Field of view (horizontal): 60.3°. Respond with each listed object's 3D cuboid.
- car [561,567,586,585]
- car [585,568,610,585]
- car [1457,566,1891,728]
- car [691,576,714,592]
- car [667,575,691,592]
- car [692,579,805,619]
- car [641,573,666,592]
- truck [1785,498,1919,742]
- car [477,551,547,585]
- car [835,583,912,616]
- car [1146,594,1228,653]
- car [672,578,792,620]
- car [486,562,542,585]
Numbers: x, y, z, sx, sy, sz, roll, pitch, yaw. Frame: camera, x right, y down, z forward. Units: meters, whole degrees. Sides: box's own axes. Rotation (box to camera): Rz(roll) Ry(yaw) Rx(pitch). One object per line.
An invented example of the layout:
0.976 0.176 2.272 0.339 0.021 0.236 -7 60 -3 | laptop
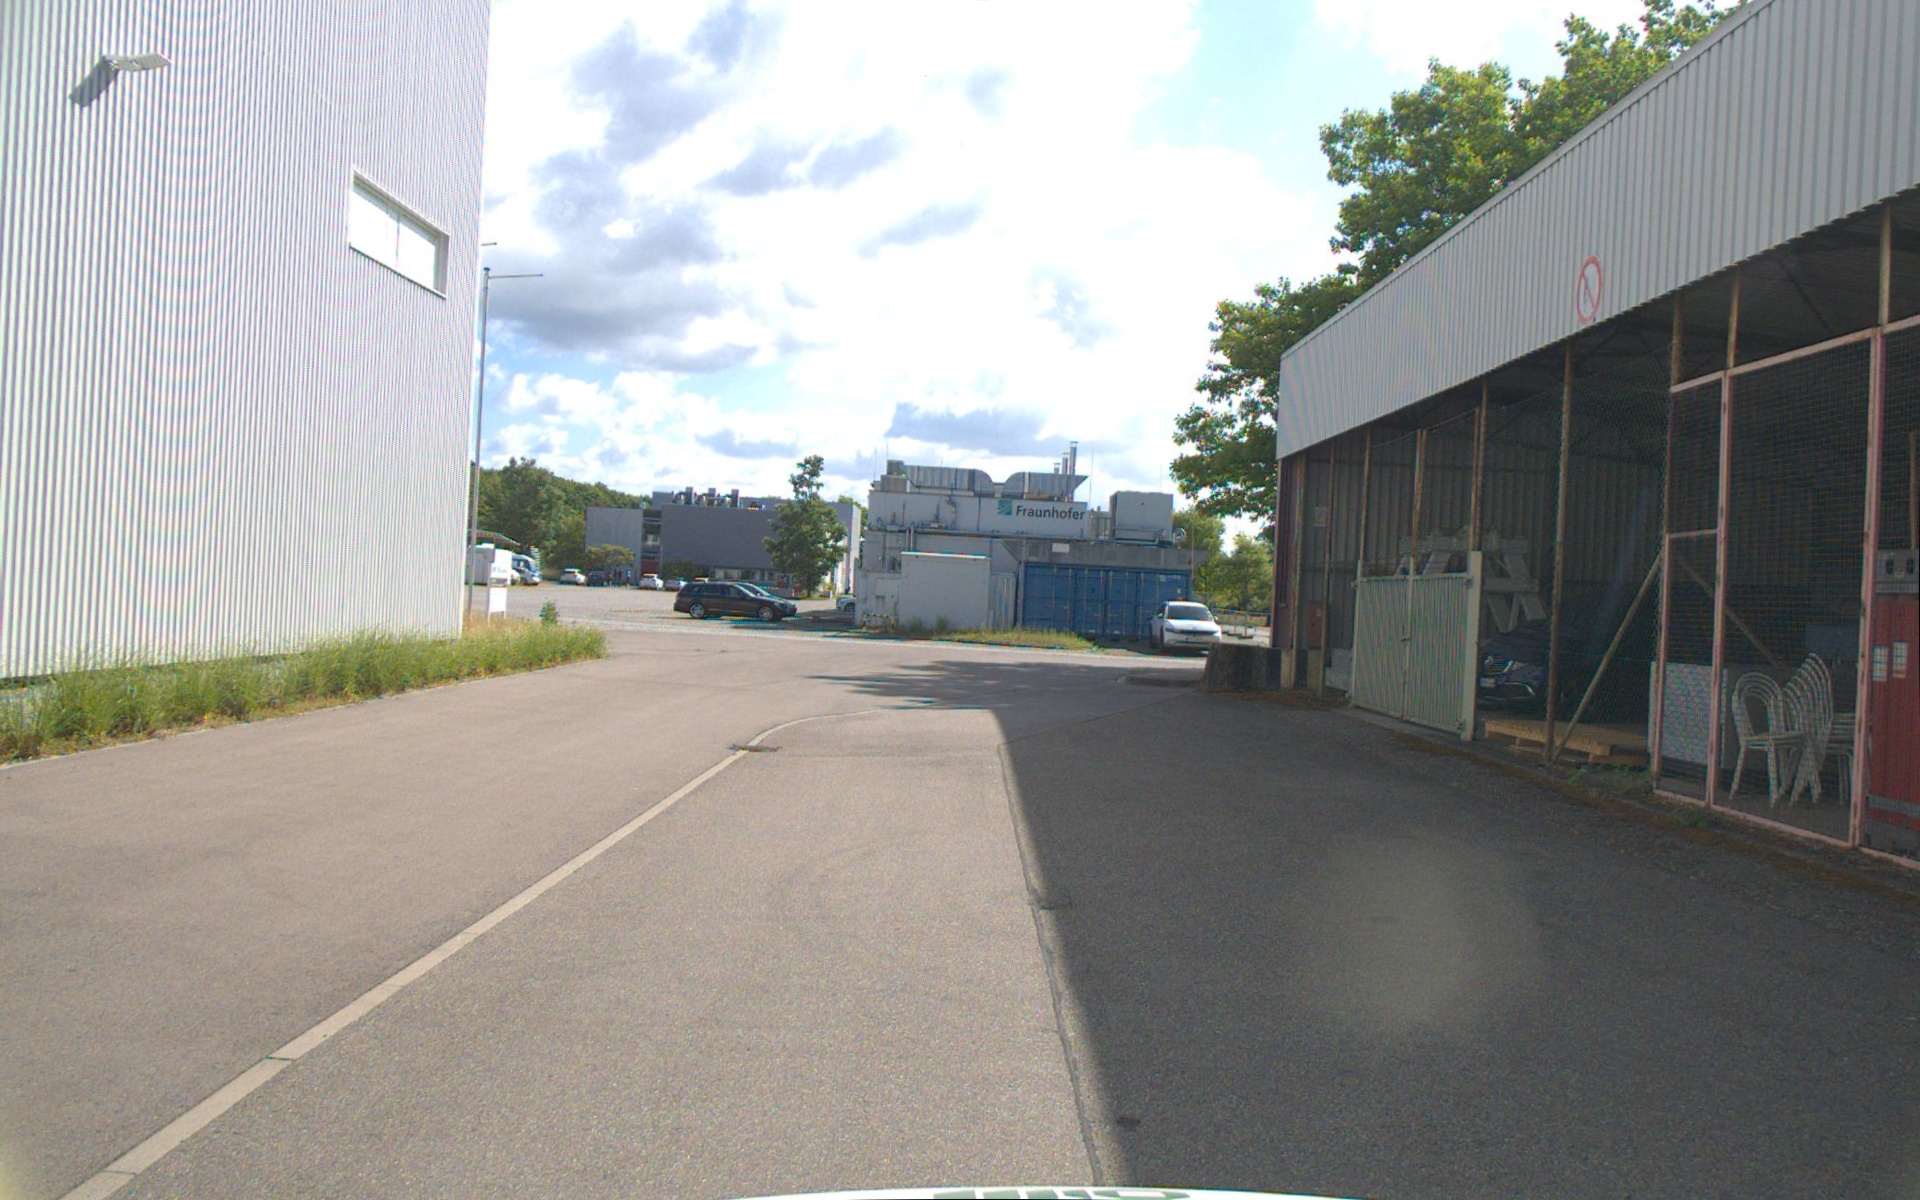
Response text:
-37.997 -2.387 162.644 1.810 1.697 4.129 1 0 -5 | car
-35.595 -2.284 162.545 1.841 1.564 4.031 1 0 -5 | car
9.874 0.638 23.129 5.065 1.952 2.276 2 0 -6 | car
-25.354 -1.567 162.941 1.840 1.564 4.033 1 0 -2 | car
-27.634 -1.602 162.701 1.840 1.564 4.033 1 0 -2 | car
-8.835 -0.036 69.305 4.437 1.468 1.904 2 -2 0 | car
-30.148 -1.717 162.833 1.840 1.719 4.033 1 0 -2 | car
13.284 0.303 19.928 5.452 2.753 2.366 2 0 0 | truck
-37.649 -2.690 139.131 5.148 2.484 2.050 3 0 4 | car
-4.899 -0.021 93.823 4.192 1.596 1.987 2 -2 0 | car
7.302 0.716 53.575 1.941 1.621 4.340 3 1 0 | car
-9.061 -0.028 66.044 4.437 1.468 1.987 2 -1 0 | car
-36.702 -2.178 136.197 4.024 1.659 1.808 3 0 4 | car
